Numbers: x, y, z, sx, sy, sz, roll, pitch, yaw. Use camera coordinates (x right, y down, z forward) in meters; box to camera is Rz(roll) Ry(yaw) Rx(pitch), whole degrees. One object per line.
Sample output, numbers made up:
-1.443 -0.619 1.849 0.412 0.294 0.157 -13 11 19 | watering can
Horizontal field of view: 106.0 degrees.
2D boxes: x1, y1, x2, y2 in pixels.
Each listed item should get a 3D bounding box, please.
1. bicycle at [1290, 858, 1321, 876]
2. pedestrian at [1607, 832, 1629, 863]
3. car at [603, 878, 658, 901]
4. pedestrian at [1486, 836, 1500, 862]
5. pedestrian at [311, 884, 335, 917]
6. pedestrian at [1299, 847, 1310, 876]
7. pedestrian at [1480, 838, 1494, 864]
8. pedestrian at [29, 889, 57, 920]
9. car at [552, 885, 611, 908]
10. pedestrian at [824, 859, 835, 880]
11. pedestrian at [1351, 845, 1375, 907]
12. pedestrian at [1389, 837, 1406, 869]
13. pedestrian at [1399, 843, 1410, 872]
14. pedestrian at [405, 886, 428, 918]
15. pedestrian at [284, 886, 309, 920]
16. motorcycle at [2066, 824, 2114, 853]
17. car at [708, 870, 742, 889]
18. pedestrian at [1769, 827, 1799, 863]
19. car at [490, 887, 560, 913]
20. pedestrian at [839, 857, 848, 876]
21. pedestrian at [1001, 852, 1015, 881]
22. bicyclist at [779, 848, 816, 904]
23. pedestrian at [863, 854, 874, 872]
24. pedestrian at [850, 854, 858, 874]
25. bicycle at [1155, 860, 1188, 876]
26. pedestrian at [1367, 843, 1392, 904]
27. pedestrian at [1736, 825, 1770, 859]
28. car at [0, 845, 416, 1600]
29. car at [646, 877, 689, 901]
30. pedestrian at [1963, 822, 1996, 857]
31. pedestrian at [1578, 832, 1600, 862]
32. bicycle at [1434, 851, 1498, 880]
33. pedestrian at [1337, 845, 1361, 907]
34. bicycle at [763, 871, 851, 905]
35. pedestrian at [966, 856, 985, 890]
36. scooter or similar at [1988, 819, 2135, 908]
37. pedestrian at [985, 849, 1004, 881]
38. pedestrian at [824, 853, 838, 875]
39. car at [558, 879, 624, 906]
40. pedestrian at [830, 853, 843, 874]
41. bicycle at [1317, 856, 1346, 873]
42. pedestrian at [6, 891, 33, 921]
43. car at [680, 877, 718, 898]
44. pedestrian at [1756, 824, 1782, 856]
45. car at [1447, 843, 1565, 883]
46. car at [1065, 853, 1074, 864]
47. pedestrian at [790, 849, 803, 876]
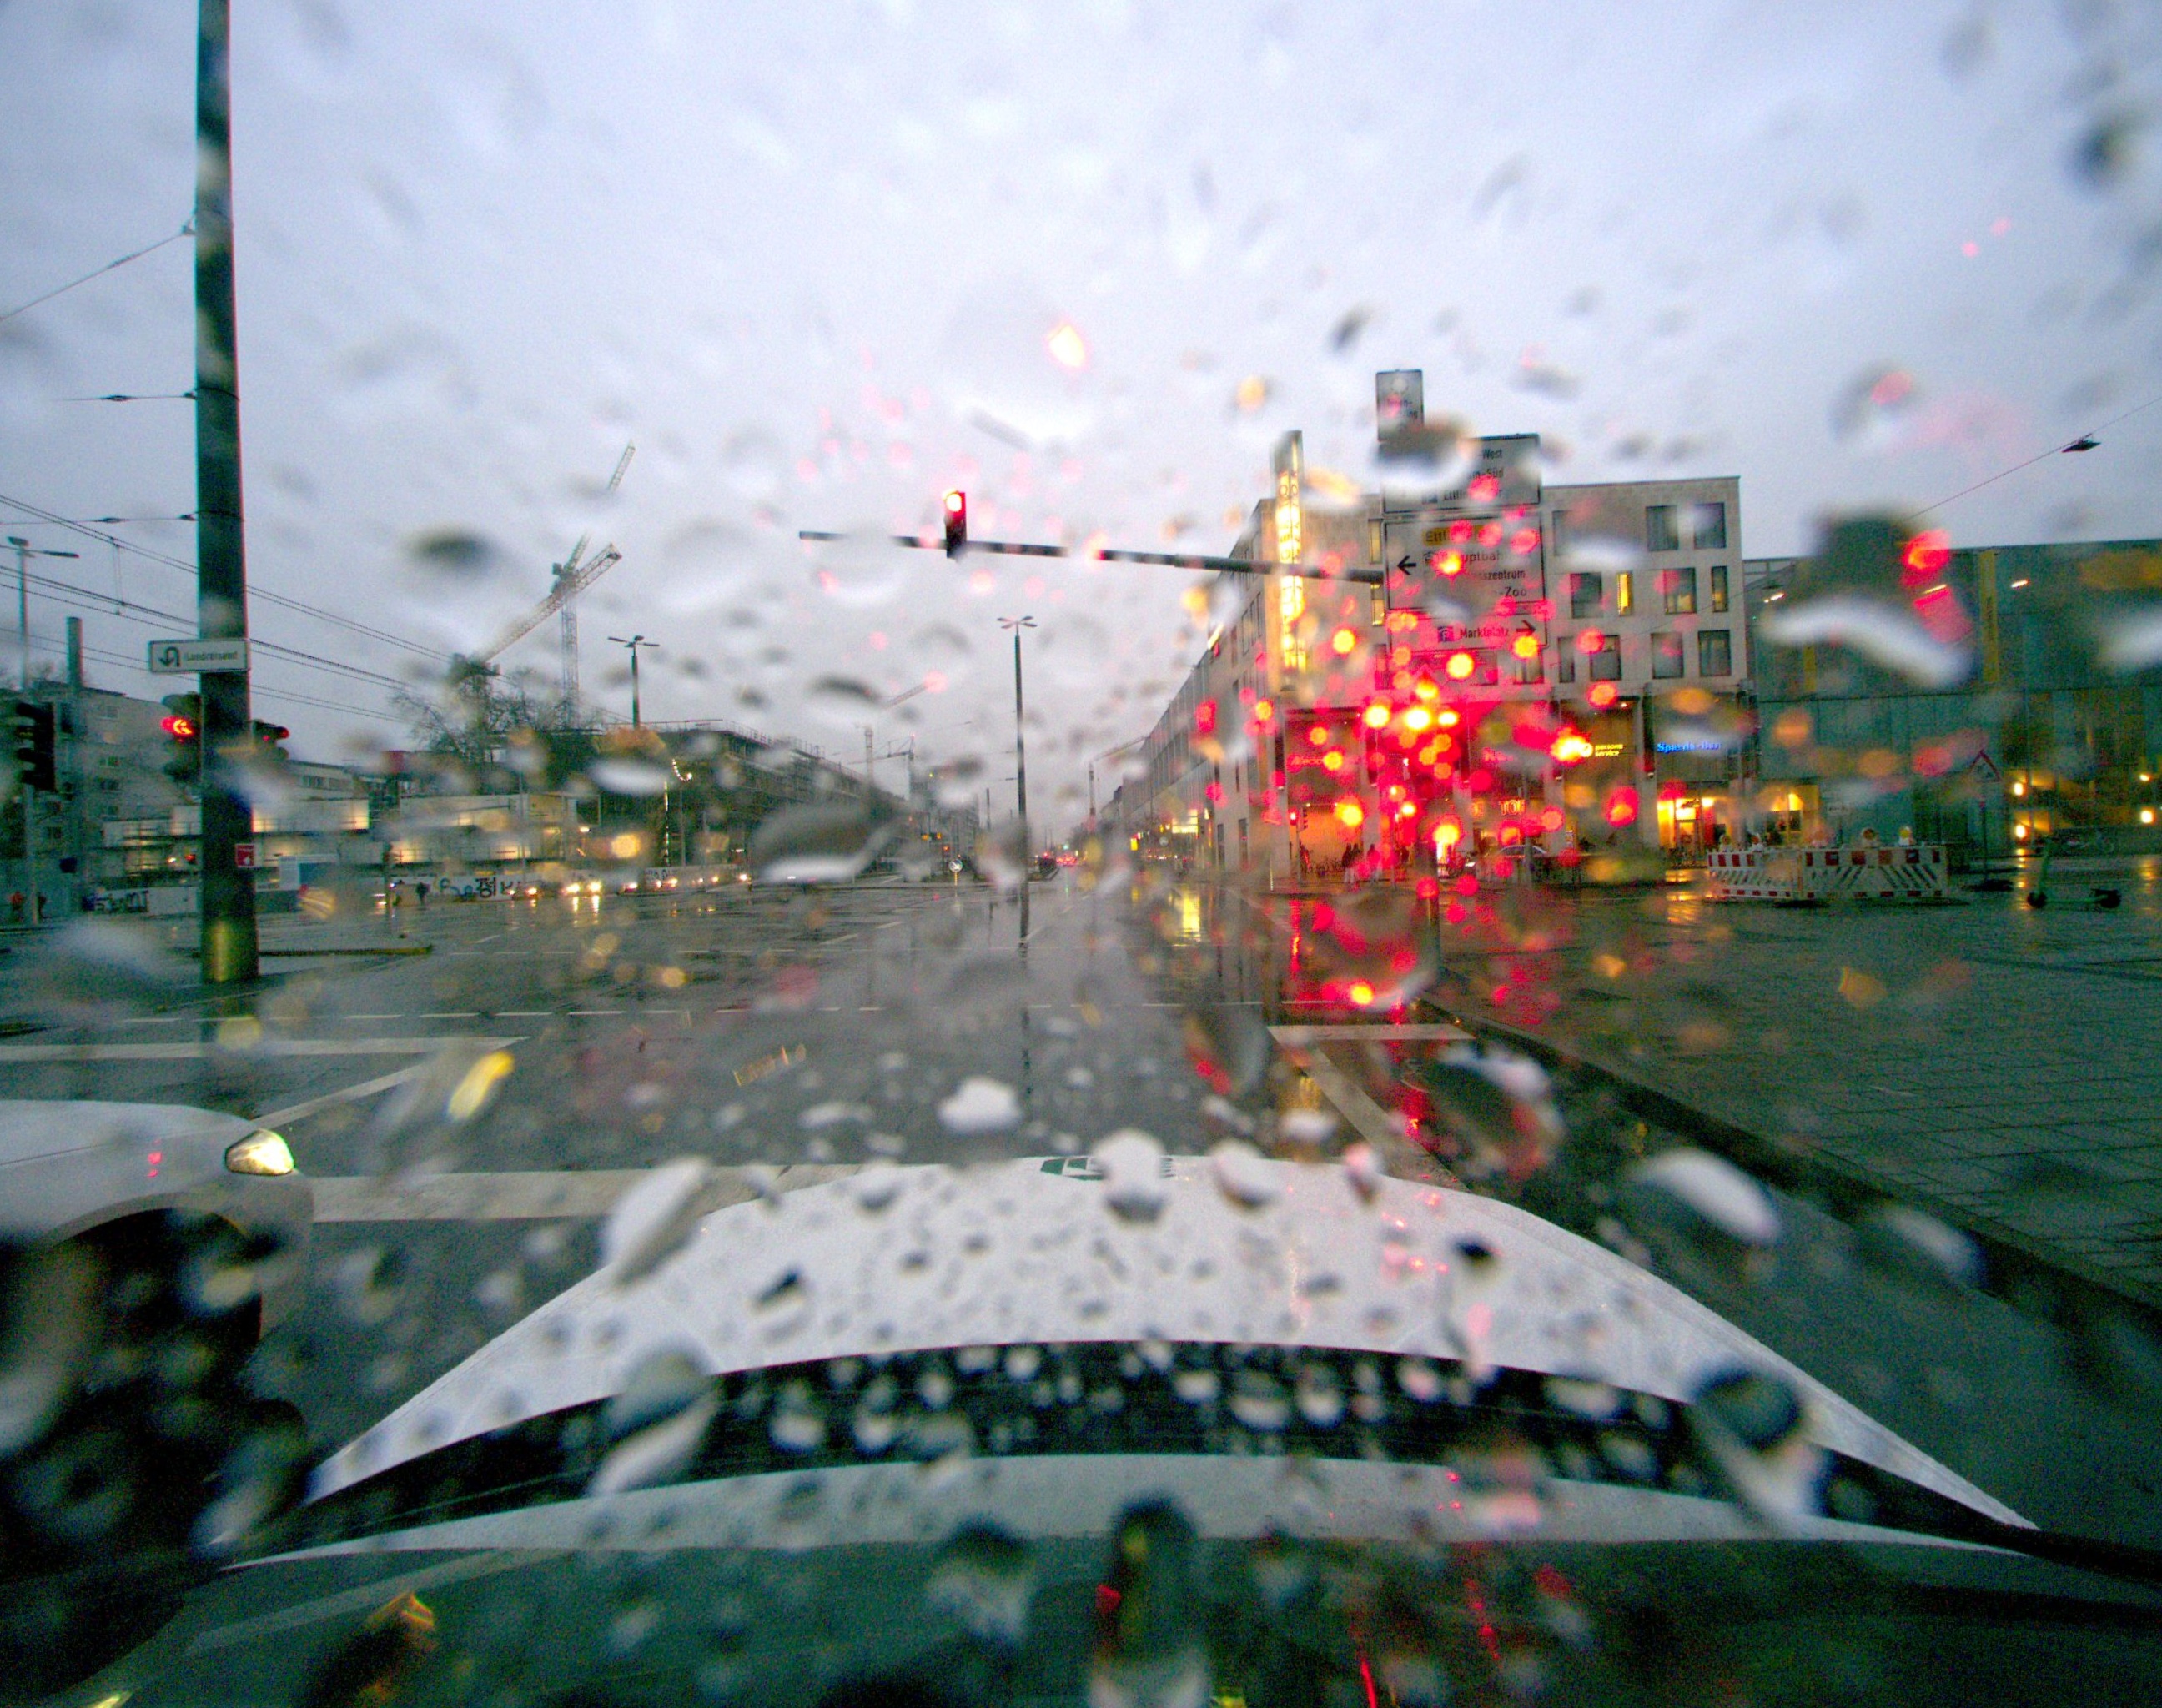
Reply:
13.807 0.801 50.148 1.756 1.070 0.526 -1 -1 9 | bicycle
29.986 -0.359 45.510 0.737 1.684 0.783 0 -1 8 | pedestrian
-34.277 2.640 62.074 2.074 1.530 4.603 -2 0 -8 | car
28.041 -0.347 55.421 0.728 1.718 0.743 -3 -1 29 | pedestrian
-46.060 2.813 49.484 0.781 2.014 0.748 0 -1 6 | pedestrian
13.623 0.464 49.658 0.596 1.745 0.526 -1 -1 10 | pedestrian
25.940 -0.193 52.026 0.613 1.685 0.366 -2 -1 -2 | pedestrian
-65.697 3.172 51.560 0.788 1.902 0.717 -2 -1 0 | pedestrian
-38.978 3.297 63.613 1.986 1.530 4.001 -2 0 2 | car
-22.886 1.401 74.086 0.762 1.898 0.763 0 -2 1 | pedestrian
11.363 0.873 32.829 0.687 2.441 0.758 0 -1 1 | pedestrian
20.401 -0.089 52.561 0.841 2.013 0.700 -2 0 10 | pedestrian
18.953 0.223 47.720 0.480 1.663 0.460 -3 -1 32 | pedestrian
-44.935 3.236 55.069 0.872 2.165 0.763 0 -1 -7 | pedestrian
-46.772 2.905 48.554 0.861 2.014 0.624 0 -1 -6 | pedestrian
48.212 -0.754 38.925 1.482 1.352 0.595 0 0 5 | motorcycle
-35.364 2.503 81.071 1.991 1.790 3.991 0 -1 -6 | car
33.345 -0.440 38.638 0.737 1.684 0.783 0 -1 8 | pedestrian
-38.570 3.147 56.649 1.986 1.530 4.001 -2 0 2 | car
-22.591 1.182 77.342 0.696 1.881 0.553 0 -1 1 | pedestrian
-4.330 0.737 48.240 0.605 1.686 0.581 -1 -1 44 | pedestrian
-9.709 0.750 27.923 1.159 1.871 0.741 0 -1 -17 | bicyclist
-24.017 1.055 92.040 0.939 2.014 1.094 0 -1 -1 | pedestrian
-22.751 1.000 81.539 0.569 1.968 0.664 1 -1 -4 | pedestrian
6.853 1.041 61.610 2.434 1.154 0.674 -2 -1 0 | bicycle
12.063 0.773 32.934 0.691 2.448 0.792 0 -1 1 | pedestrian
34.446 -0.601 41.739 1.026 1.684 0.824 0 -1 1 | pedestrian
-3.184 0.756 0.307 2.010 1.487 4.561 -2 0 1 | car
-34.754 2.917 68.591 1.862 1.828 3.993 0 -1 -5 | car
43.900 -0.694 39.788 0.737 1.684 0.783 0 -1 8 | pedestrian
29.373 -0.397 47.092 0.890 1.684 0.528 -2 -1 1 | pedestrian
19.252 0.579 40.783 2.705 1.359 0.957 -2 -1 -2 | bicycle
10.653 0.875 32.403 0.712 2.441 0.758 0 -1 1 | pedestrian
-9.385 1.142 28.012 2.863 1.099 0.741 0 -1 -17 | bicycle
-6.184 1.102 47.693 0.776 2.014 0.732 -1 -1 44 | pedestrian
15.677 0.138 13.074 0.590 1.352 1.495 0 0 2 | scooter or similar
-4.945 0.620 46.675 0.826 1.831 0.778 0 -1 -29 | pedestrian
-23.747 0.934 77.414 0.939 2.014 1.094 0 -1 -1 | pedestrian
-33.702 2.613 56.182 1.986 1.657 4.001 -2 0 2 | car
-23.797 0.950 79.416 0.939 2.014 1.094 0 -1 -1 | pedestrian
15.537 0.657 50.586 1.642 1.070 0.524 0 -1 -2 | bicycle
-65.781 3.219 50.474 0.786 1.776 0.726 -2 -1 8 | pedestrian
-35.391 3.099 75.497 1.991 1.790 3.991 0 -1 -6 | car
37.934 -0.771 44.886 0.782 1.739 0.779 -3 -1 17 | pedestrian
17.953 0.385 34.553 3.970 1.618 2.001 0 -1 3 | car
-2.079 0.833 152.722 1.572 2.013 3.170 -2 0 0 | car
-24.253 0.713 69.436 0.762 2.323 0.763 0 -2 1 | pedestrian
